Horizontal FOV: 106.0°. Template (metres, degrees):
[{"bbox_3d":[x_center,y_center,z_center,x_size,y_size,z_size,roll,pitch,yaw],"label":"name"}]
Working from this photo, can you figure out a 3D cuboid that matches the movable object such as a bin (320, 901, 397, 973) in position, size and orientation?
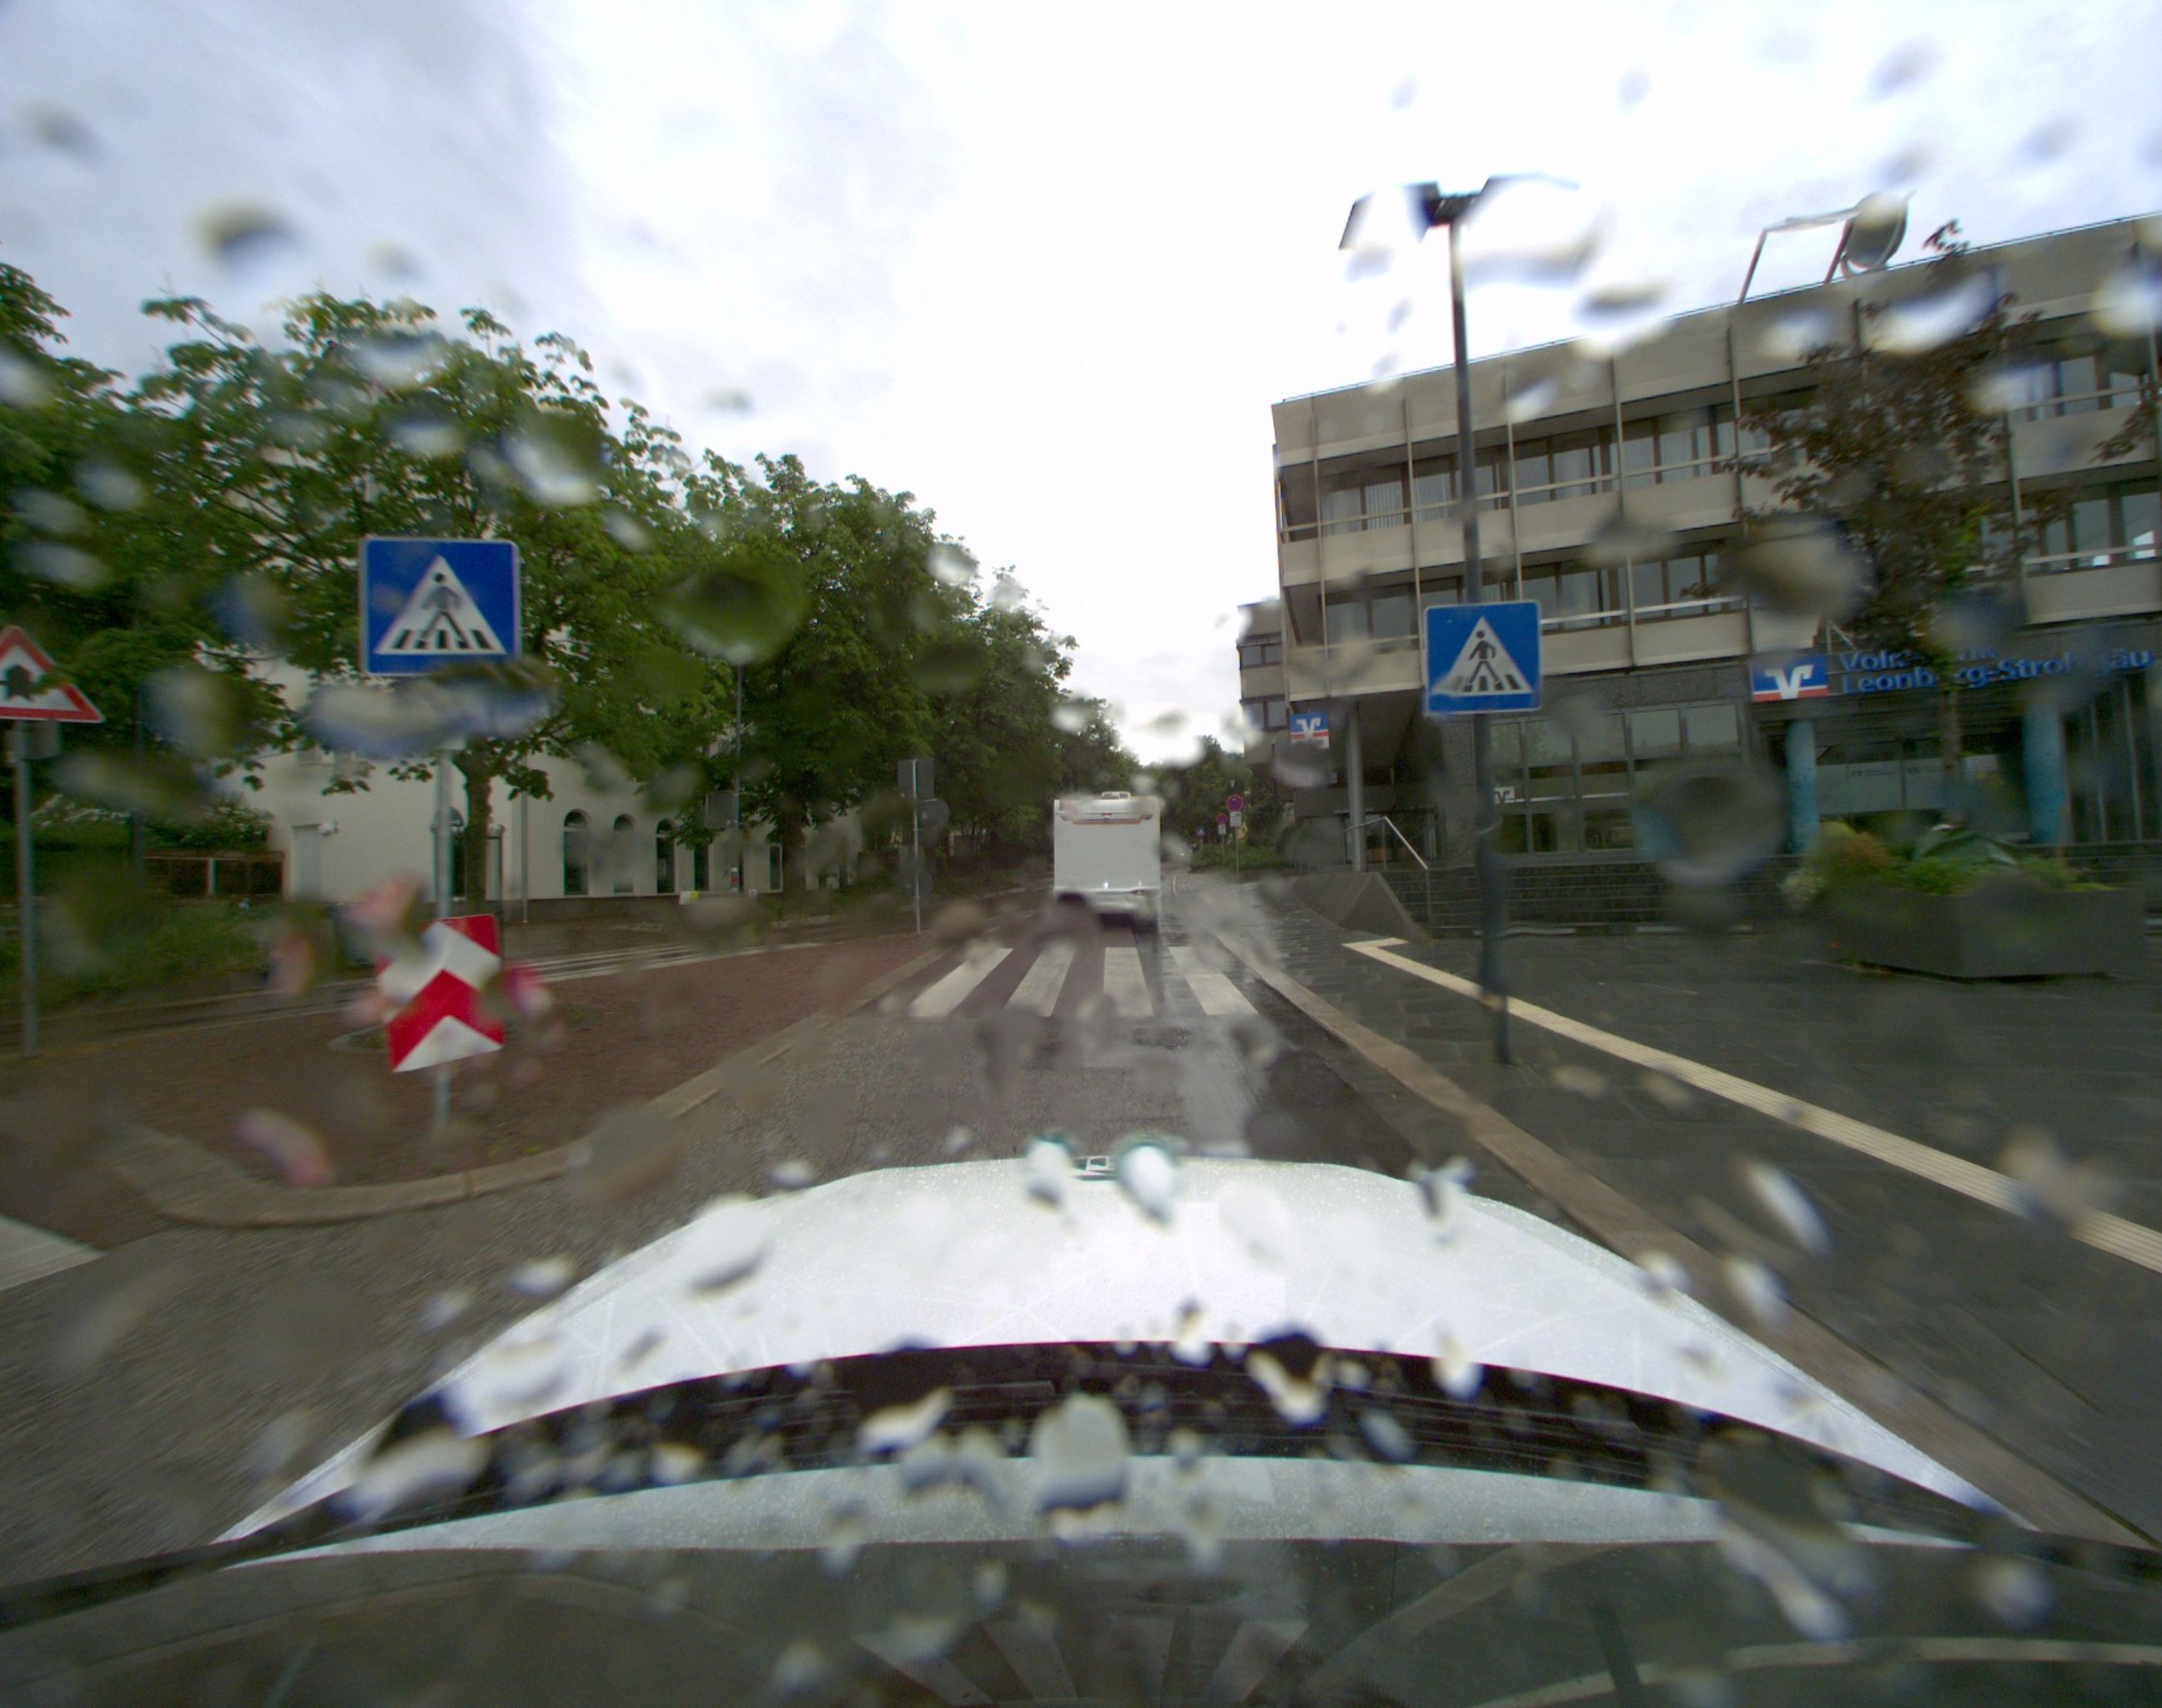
[{"bbox_3d":[-11.343,1.293,12.790,0.628,1.059,0.702,-4,-2,28],"label":"movable object such as a bin"}]

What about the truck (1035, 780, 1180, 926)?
[{"bbox_3d":[0.681,0.058,19.617,2.794,2.797,6.110,-4,-2,3],"label":"truck"}]

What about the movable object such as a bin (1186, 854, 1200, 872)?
[{"bbox_3d":[7.293,0.588,52.931,0.697,1.124,0.575,-4,-2,25],"label":"movable object such as a bin"}]
